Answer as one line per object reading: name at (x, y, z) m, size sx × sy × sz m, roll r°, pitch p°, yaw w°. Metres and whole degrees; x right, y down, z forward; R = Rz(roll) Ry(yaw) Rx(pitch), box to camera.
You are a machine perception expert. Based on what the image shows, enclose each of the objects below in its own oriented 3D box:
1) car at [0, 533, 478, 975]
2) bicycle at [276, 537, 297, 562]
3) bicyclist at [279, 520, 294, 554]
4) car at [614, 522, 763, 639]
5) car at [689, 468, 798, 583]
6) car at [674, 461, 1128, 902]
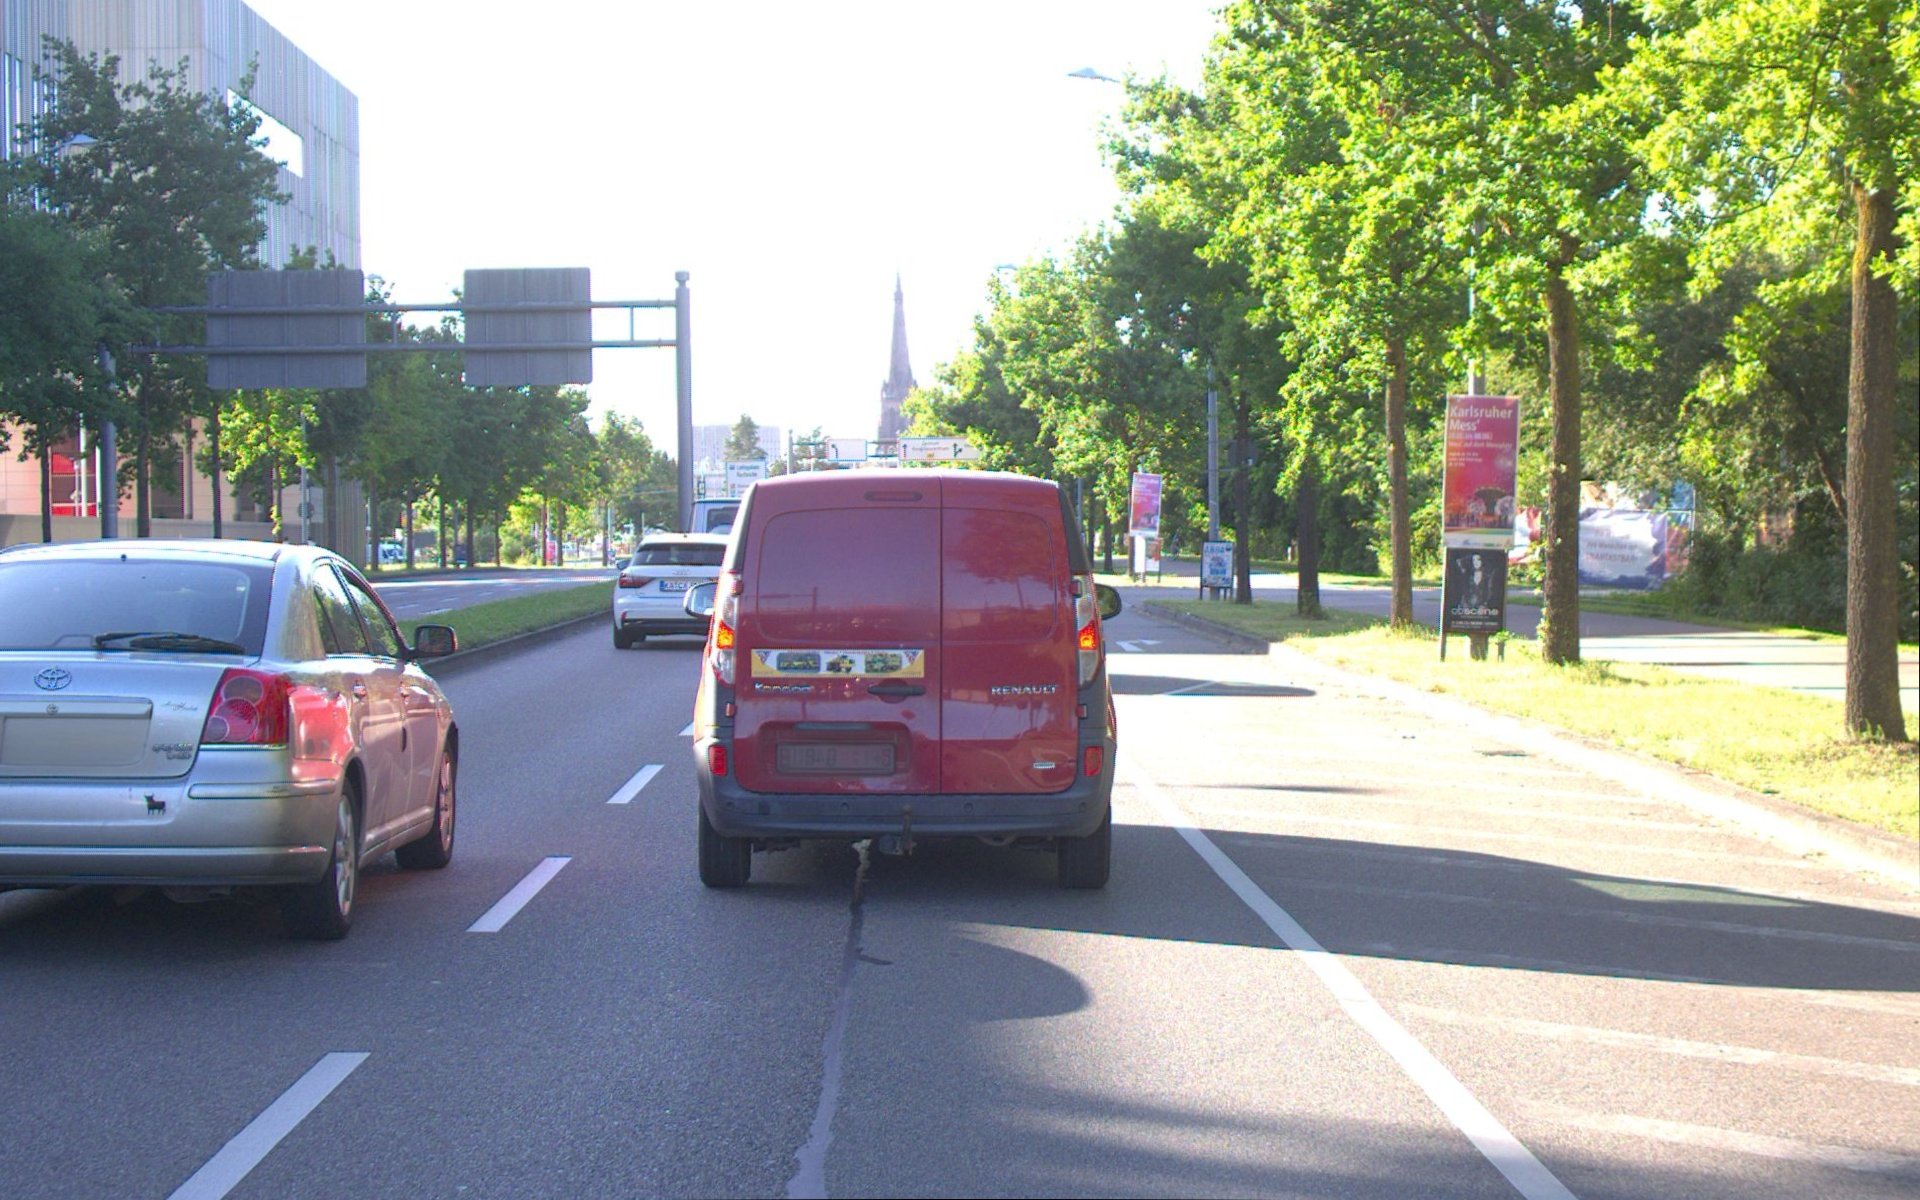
car at (-3.097, 0.475, 13.527) m, size 1.841 × 1.451 × 4.162 m, roll 1°, pitch 1°, yaw -1°
bicycle at (-27.727, -2.086, 141.537) m, size 0.487 × 1.000 × 2.096 m, roll 0°, pitch 0°, yaw -2°
bicyclist at (-27.736, -2.587, 141.600) m, size 0.482 × 1.390 × 0.844 m, roll 0°, pitch 0°, yaw -2°
car at (-3.377, -0.265, 43.272) m, size 1.661 × 1.393 × 3.559 m, roll 0°, pitch 1°, yaw -1°
car at (-3.588, -1.244, 57.469) m, size 1.661 × 1.850 × 3.559 m, roll 0°, pitch 1°, yaw -1°
car at (-0.280, 0.296, 15.825) m, size 1.806 × 1.753 × 4.006 m, roll 1°, pitch 1°, yaw -1°
